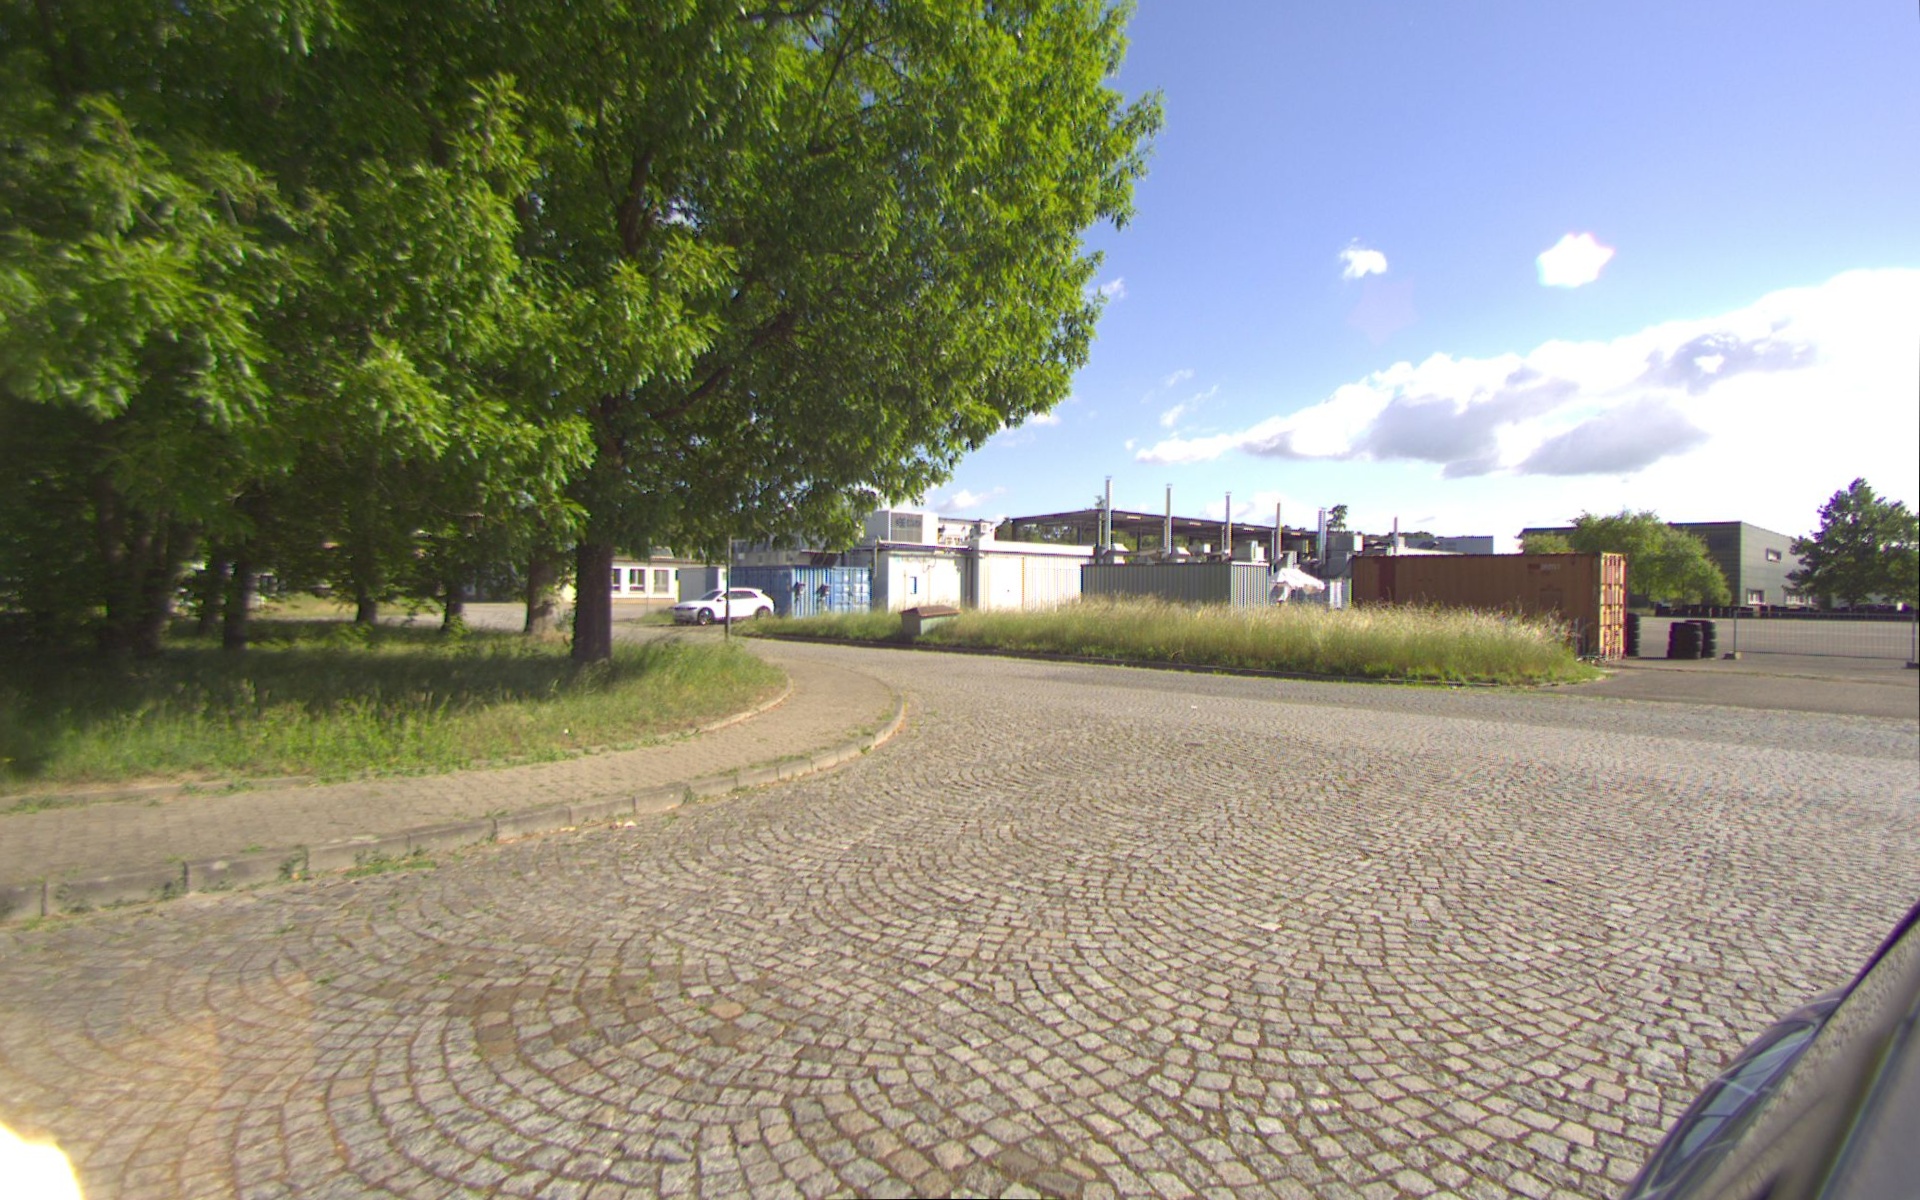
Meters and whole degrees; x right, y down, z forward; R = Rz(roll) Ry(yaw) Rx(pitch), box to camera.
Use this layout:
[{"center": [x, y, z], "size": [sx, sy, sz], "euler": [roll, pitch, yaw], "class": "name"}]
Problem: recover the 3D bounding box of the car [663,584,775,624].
[{"center": [-10.691, 0.170, 45.112], "size": [4.526, 1.698, 1.870], "euler": [0, 1, -44], "class": "car"}]
